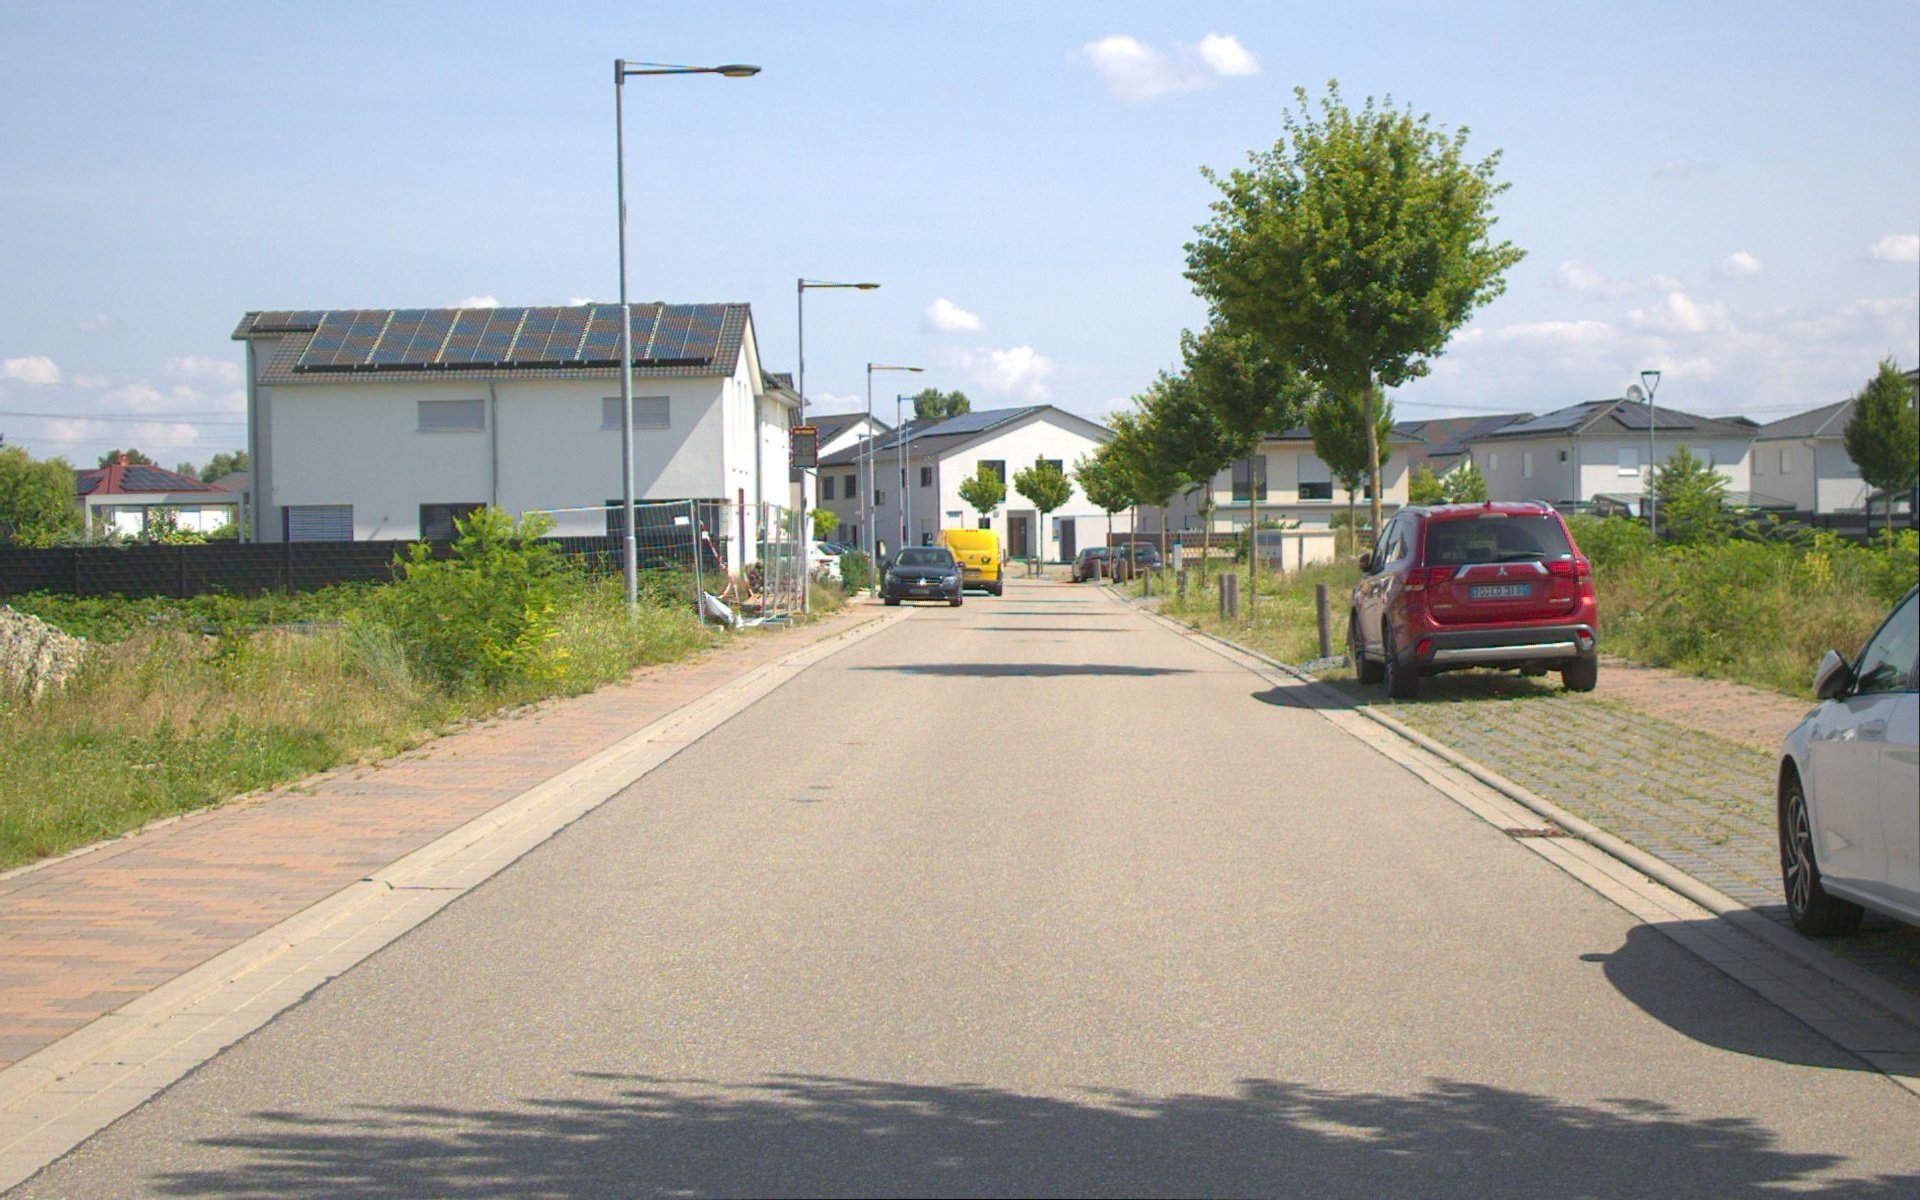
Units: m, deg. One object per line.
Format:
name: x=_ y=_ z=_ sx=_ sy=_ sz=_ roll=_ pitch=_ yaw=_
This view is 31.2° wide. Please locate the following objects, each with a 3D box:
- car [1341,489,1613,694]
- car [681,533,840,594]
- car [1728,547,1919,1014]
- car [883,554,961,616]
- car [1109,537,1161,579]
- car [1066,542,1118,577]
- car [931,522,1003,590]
car: x=4.585 y=-0.124 z=31.063 sx=1.777 sy=1.657 sz=4.434 roll=-2 pitch=1 yaw=1
car: x=-5.422 y=-1.004 z=93.844 sx=4.070 sy=1.576 sz=1.784 roll=1 pitch=2 yaw=7
car: x=3.910 y=0.545 z=11.552 sx=1.775 sy=1.415 sz=4.166 roll=-2 pitch=1 yaw=2
car: x=-0.890 y=-0.377 z=83.264 sx=1.745 sy=1.400 sz=4.160 roll=2 pitch=1 yaw=1
car: x=6.264 y=-1.505 z=123.224 sx=1.639 sy=1.398 sz=3.811 roll=-1 pitch=-1 yaw=0
car: x=5.450 y=-1.662 z=141.870 sx=1.627 sy=1.318 sz=3.834 roll=-1 pitch=-1 yaw=-5
car: x=0.186 y=-1.301 z=103.323 sx=1.941 sy=1.975 sz=4.217 roll=-1 pitch=0 yaw=-3
